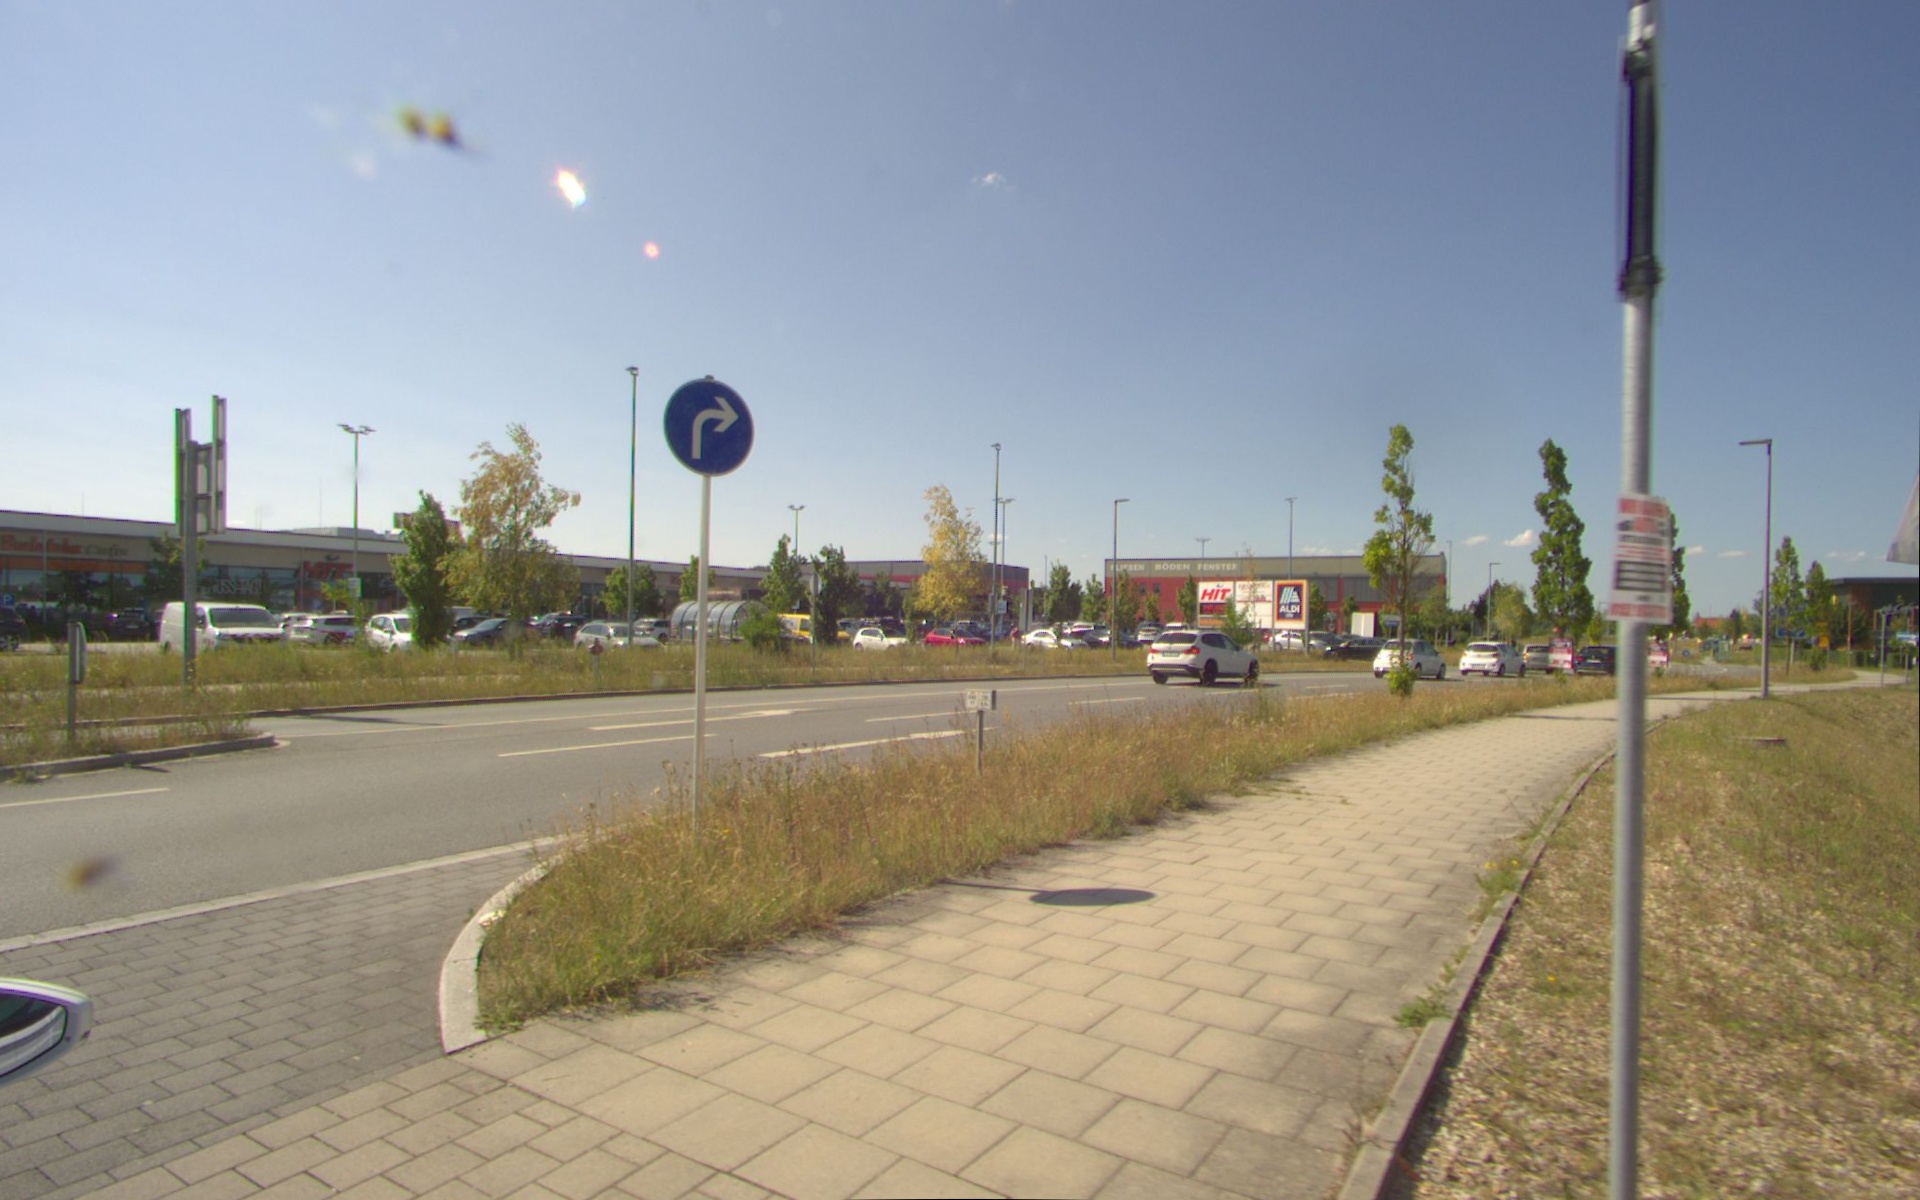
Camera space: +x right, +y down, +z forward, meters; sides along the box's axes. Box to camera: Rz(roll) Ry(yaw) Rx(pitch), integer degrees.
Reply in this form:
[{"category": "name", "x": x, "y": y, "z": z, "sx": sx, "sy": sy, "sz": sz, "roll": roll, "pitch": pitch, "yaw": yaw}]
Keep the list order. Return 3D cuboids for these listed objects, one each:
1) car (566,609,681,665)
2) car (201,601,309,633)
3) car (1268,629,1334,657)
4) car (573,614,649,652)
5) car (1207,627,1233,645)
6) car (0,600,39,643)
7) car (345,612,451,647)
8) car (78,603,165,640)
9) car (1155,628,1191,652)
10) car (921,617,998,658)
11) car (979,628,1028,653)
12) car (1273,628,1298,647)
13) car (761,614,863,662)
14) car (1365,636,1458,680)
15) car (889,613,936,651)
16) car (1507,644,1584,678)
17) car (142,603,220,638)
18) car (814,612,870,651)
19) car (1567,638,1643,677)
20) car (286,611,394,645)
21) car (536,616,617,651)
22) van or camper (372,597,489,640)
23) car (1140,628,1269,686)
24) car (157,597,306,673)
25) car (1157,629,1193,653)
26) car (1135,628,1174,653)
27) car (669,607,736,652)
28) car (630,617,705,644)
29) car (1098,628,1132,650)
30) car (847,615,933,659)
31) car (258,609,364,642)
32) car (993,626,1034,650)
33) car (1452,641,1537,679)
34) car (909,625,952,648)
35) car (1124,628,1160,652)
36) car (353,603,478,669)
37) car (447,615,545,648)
[{"category": "car", "x": -13.320, "y": 1.412, "z": 39.475, "sx": 5.059, "sy": 2.040, "sz": 2.146, "roll": 0, "pitch": -1, "yaw": 43}, {"category": "car", "x": -32.463, "y": 0.781, "z": 46.194, "sx": 1.703, "sy": 1.408, "sz": 3.721, "roll": 1, "pitch": -1, "yaw": 25}, {"category": "car", "x": 26.178, "y": 3.301, "z": 76.924, "sx": 4.432, "sy": 2.064, "sz": 1.985, "roll": -1, "pitch": -2, "yaw": 41}, {"category": "car", "x": -21.393, "y": 2.052, "z": 61.548, "sx": 1.966, "sy": 2.219, "sz": 4.475, "roll": 0, "pitch": -2, "yaw": 22}, {"category": "car", "x": 30.653, "y": 4.298, "z": 118.027, "sx": 1.969, "sy": 2.064, "sz": 4.468, "roll": 0, "pitch": -2, "yaw": 28}, {"category": "car", "x": -35.049, "y": 0.743, "z": 35.041, "sx": 1.705, "sy": 1.528, "sz": 3.791, "roll": 1, "pitch": -1, "yaw": 29}, {"category": "car", "x": -24.338, "y": 1.268, "z": 43.485, "sx": 1.703, "sy": 1.408, "sz": 3.721, "roll": 1, "pitch": -1, "yaw": 25}, {"category": "car", "x": -41.964, "y": 1.068, "z": 50.091, "sx": 3.937, "sy": 1.729, "sz": 1.993, "roll": 1, "pitch": -1, "yaw": 28}, {"category": "car", "x": 19.074, "y": 3.611, "z": 89.468, "sx": 1.969, "sy": 2.064, "sz": 4.468, "roll": 0, "pitch": -2, "yaw": 28}, {"category": "car", "x": -0.059, "y": 2.007, "z": 53.878, "sx": 1.864, "sy": 2.039, "sz": 4.099, "roll": 2, "pitch": -2, "yaw": -42}, {"category": "car", "x": 3.304, "y": 3.063, "z": 75.555, "sx": 1.969, "sy": 1.807, "sz": 4.299, "roll": 0, "pitch": -2, "yaw": 28}, {"category": "car", "x": 37.060, "y": 4.255, "z": 113.938, "sx": 1.969, "sy": 2.064, "sz": 4.468, "roll": 0, "pitch": -2, "yaw": 28}, {"category": "car", "x": -6.972, "y": 1.741, "z": 46.816, "sx": 2.144, "sy": 2.040, "sz": 5.064, "roll": 2, "pitch": -1, "yaw": -44}, {"category": "car", "x": 17.240, "y": 2.178, "z": 38.194, "sx": 3.740, "sy": 1.571, "sz": 1.728, "roll": 2, "pitch": -2, "yaw": -38}, {"category": "car", "x": -3.708, "y": 2.549, "z": 78.915, "sx": 1.966, "sy": 2.857, "sz": 4.475, "roll": 0, "pitch": -2, "yaw": 22}, {"category": "car", "x": 29.139, "y": 2.984, "z": 49.760, "sx": 4.711, "sy": 1.571, "sz": 1.930, "roll": 2, "pitch": -2, "yaw": -41}, {"category": "car", "x": -40.906, "y": 1.052, "z": 52.575, "sx": 3.942, "sy": 1.729, "sz": 1.990, "roll": 1, "pitch": -1, "yaw": 32}, {"category": "car", "x": -8.773, "y": 2.348, "z": 74.962, "sx": 1.969, "sy": 2.857, "sz": 4.468, "roll": 0, "pitch": -2, "yaw": 28}, {"category": "car", "x": 27.874, "y": 2.468, "z": 43.226, "sx": 4.348, "sy": 1.571, "sz": 1.895, "roll": 3, "pitch": -2, "yaw": -45}, {"category": "car", "x": -27.086, "y": 1.202, "z": 43.861, "sx": 1.703, "sy": 1.408, "sz": 3.721, "roll": 1, "pitch": -1, "yaw": 25}, {"category": "car", "x": -24.086, "y": 2.107, "z": 63.005, "sx": 1.972, "sy": 2.129, "sz": 4.462, "roll": 0, "pitch": -2, "yaw": 32}, {"category": "van or camper", "x": -26.980, "y": 0.955, "z": 51.215, "sx": 1.970, "sy": 2.040, "sz": 5.029, "roll": 1, "pitch": -1, "yaw": 30}, {"category": "car", "x": 7.254, "y": 1.642, "z": 29.417, "sx": 1.722, "sy": 1.571, "sz": 4.533, "roll": 0, "pitch": -2, "yaw": 42}, {"category": "car", "x": -21.334, "y": 0.963, "z": 29.262, "sx": 5.160, "sy": 2.040, "sz": 2.075, "roll": 0, "pitch": -1, "yaw": 37}, {"category": "car", "x": 19.192, "y": 3.611, "z": 89.419, "sx": 1.969, "sy": 2.064, "sz": 4.468, "roll": 0, "pitch": -2, "yaw": 28}, {"category": "car", "x": 16.334, "y": 3.396, "z": 84.083, "sx": 1.969, "sy": 2.064, "sz": 4.468, "roll": 0, "pitch": -2, "yaw": 28}, {"category": "car", "x": -16.871, "y": 1.940, "z": 65.923, "sx": 1.966, "sy": 2.857, "sz": 4.475, "roll": 0, "pitch": -2, "yaw": 22}, {"category": "car", "x": -17.182, "y": 1.805, "z": 58.973, "sx": 1.631, "sy": 1.539, "sz": 4.332, "roll": 0, "pitch": -2, "yaw": 30}, {"category": "car", "x": 15.614, "y": 3.927, "z": 100.651, "sx": 1.969, "sy": 2.064, "sz": 4.468, "roll": 0, "pitch": -2, "yaw": 28}, {"category": "car", "x": -3.565, "y": 1.843, "z": 50.516, "sx": 1.926, "sy": 2.039, "sz": 4.366, "roll": 2, "pitch": -2, "yaw": -44}, {"category": "car", "x": -29.522, "y": 1.146, "z": 45.623, "sx": 1.703, "sy": 1.408, "sz": 3.721, "roll": 1, "pitch": -1, "yaw": 25}, {"category": "car", "x": 4.840, "y": 3.443, "z": 90.461, "sx": 1.969, "sy": 2.064, "sz": 4.468, "roll": 0, "pitch": -2, "yaw": 28}, {"category": "car", "x": 23.536, "y": 2.609, "z": 44.022, "sx": 4.715, "sy": 1.571, "sz": 1.928, "roll": 2, "pitch": -2, "yaw": -44}, {"category": "car", "x": -2.717, "y": 3.437, "z": 93.547, "sx": 1.969, "sy": 2.064, "sz": 4.468, "roll": 0, "pitch": -2, "yaw": 28}, {"category": "car", "x": 16.521, "y": 3.619, "z": 90.830, "sx": 1.969, "sy": 2.064, "sz": 4.468, "roll": 0, "pitch": -2, "yaw": 28}, {"category": "car", "x": -18.241, "y": 1.146, "z": 33.446, "sx": 5.059, "sy": 2.040, "sz": 2.146, "roll": 0, "pitch": -1, "yaw": 43}, {"category": "car", "x": -22.398, "y": 1.536, "z": 48.470, "sx": 1.846, "sy": 1.527, "sz": 3.984, "roll": 0, "pitch": -2, "yaw": 30}]
